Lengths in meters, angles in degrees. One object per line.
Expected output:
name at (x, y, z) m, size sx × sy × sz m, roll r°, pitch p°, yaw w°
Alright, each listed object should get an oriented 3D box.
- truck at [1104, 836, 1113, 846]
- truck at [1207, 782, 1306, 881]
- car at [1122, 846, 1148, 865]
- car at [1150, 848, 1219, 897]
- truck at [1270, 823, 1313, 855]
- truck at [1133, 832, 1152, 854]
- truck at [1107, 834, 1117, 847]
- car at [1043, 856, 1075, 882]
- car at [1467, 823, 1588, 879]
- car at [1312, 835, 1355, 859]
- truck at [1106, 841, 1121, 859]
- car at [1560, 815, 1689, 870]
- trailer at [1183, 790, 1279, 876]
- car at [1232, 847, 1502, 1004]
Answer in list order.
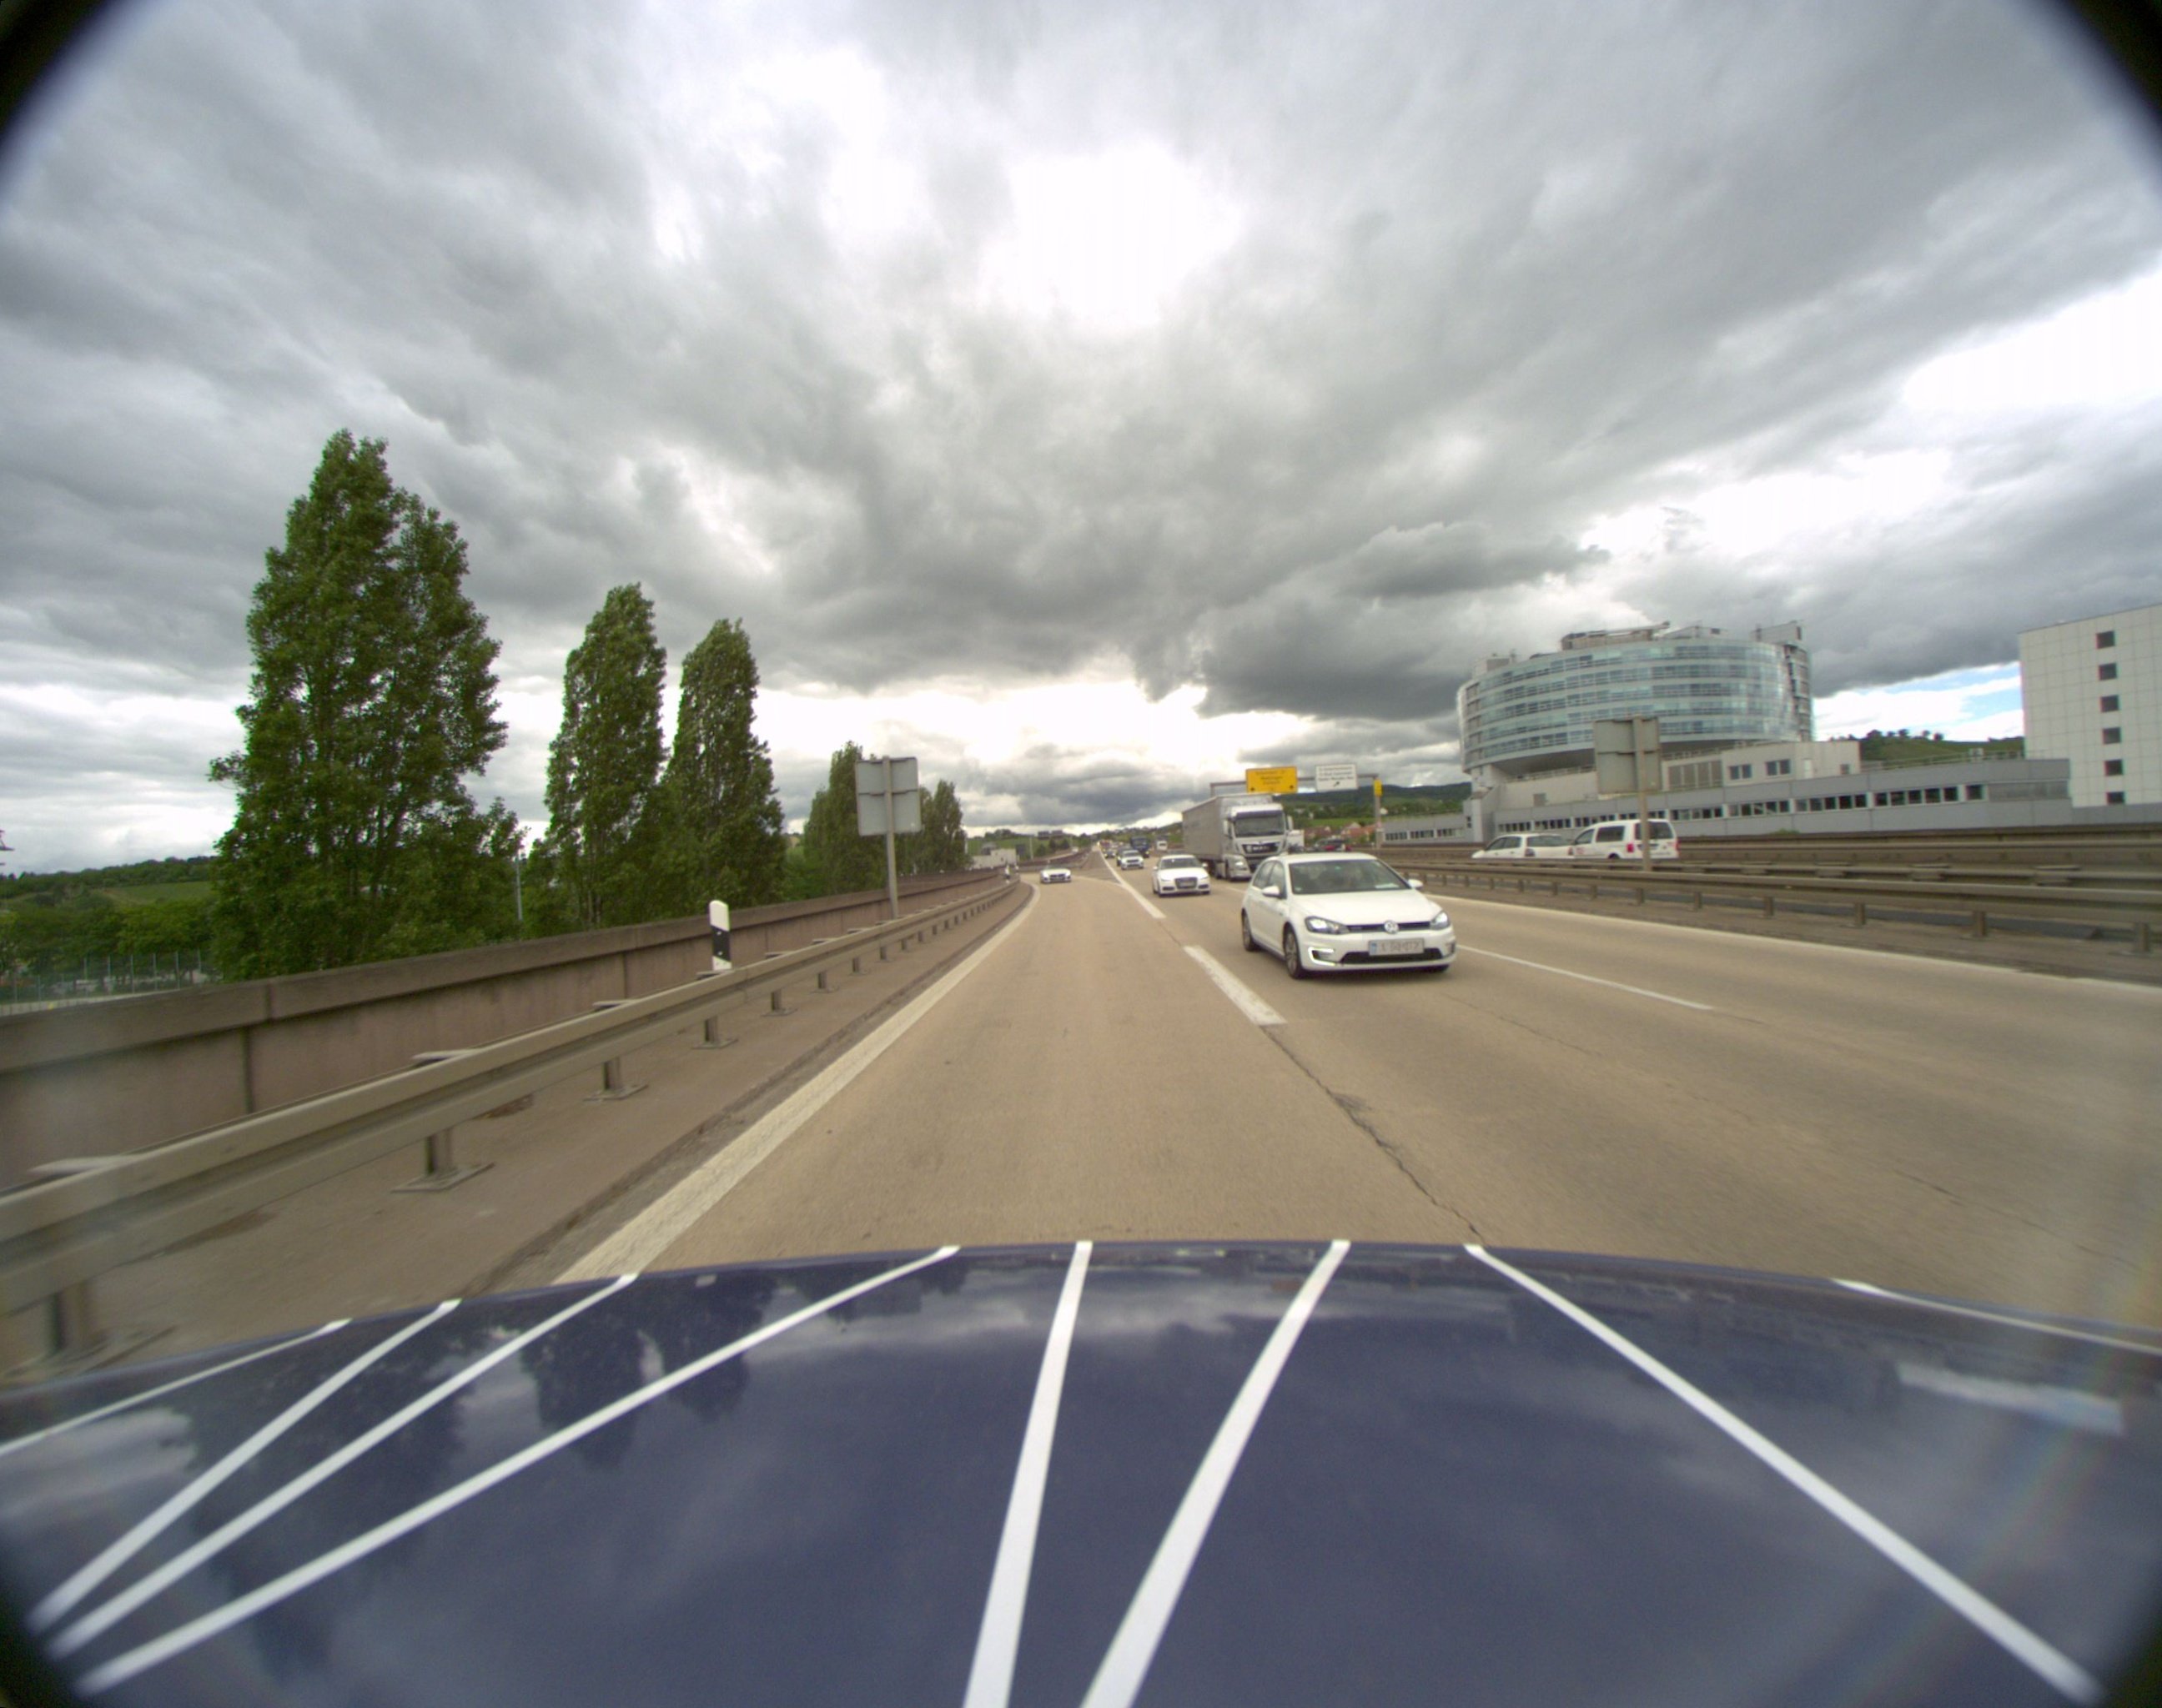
truck at (8.744, -4.062, 239.423) m, size 2.626 × 3.219 × 6.686 m, roll -2°, pitch 1°, yaw 1°
truck at (7.926, -0.984, 35.113) m, size 3.142 × 4.014 × 5.688 m, roll -4°, pitch 1°, yaw 1°
car at (4.739, 0.108, 67.141) m, size 1.930 × 1.585 × 4.061 m, roll -3°, pitch 1°, yaw 1°
car at (3.658, 0.614, 27.567) m, size 1.930 × 1.499 × 4.061 m, roll -3°, pitch 1°, yaw 1°
truck at (19.932, -1.373, 72.256) m, size 2.383 × 2.813 × 6.106 m, roll -3°, pitch 1°, yaw 1°
truck at (9.334, -1.637, 115.858) m, size 2.336 × 3.219 × 6.686 m, roll -2°, pitch 1°, yaw 1°
truck at (8.688, -3.746, 211.268) m, size 2.626 × 3.219 × 6.686 m, roll -2°, pitch 1°, yaw 1°
car at (-1.457, 0.995, 51.366) m, size 1.930 × 1.499 × 4.061 m, roll -3°, pitch 1°, yaw 1°
car at (14.347, -0.116, 24.687) m, size 1.687 × 1.585 × 3.775 m, roll -3°, pitch 1°, yaw 1°
car at (18.445, -0.508, 55.679) m, size 1.793 × 1.581 × 4.133 m, roll -3°, pitch 1°, yaw 1°
truck at (5.869, -0.737, 138.387) m, size 2.626 × 3.219 × 6.686 m, roll -2°, pitch 1°, yaw 1°
car at (18.464, -0.380, 26.012) m, size 1.687 × 1.641 × 3.775 m, roll -3°, pitch 1°, yaw 1°
trailer at (8.111, -1.078, 42.998) m, size 3.189 × 4.003 × 11.765 m, roll -4°, pitch 1°, yaw 1°
car at (3.339, 0.717, 9.812) m, size 1.930 × 1.499 × 4.061 m, roll -3°, pitch 1°, yaw 1°
